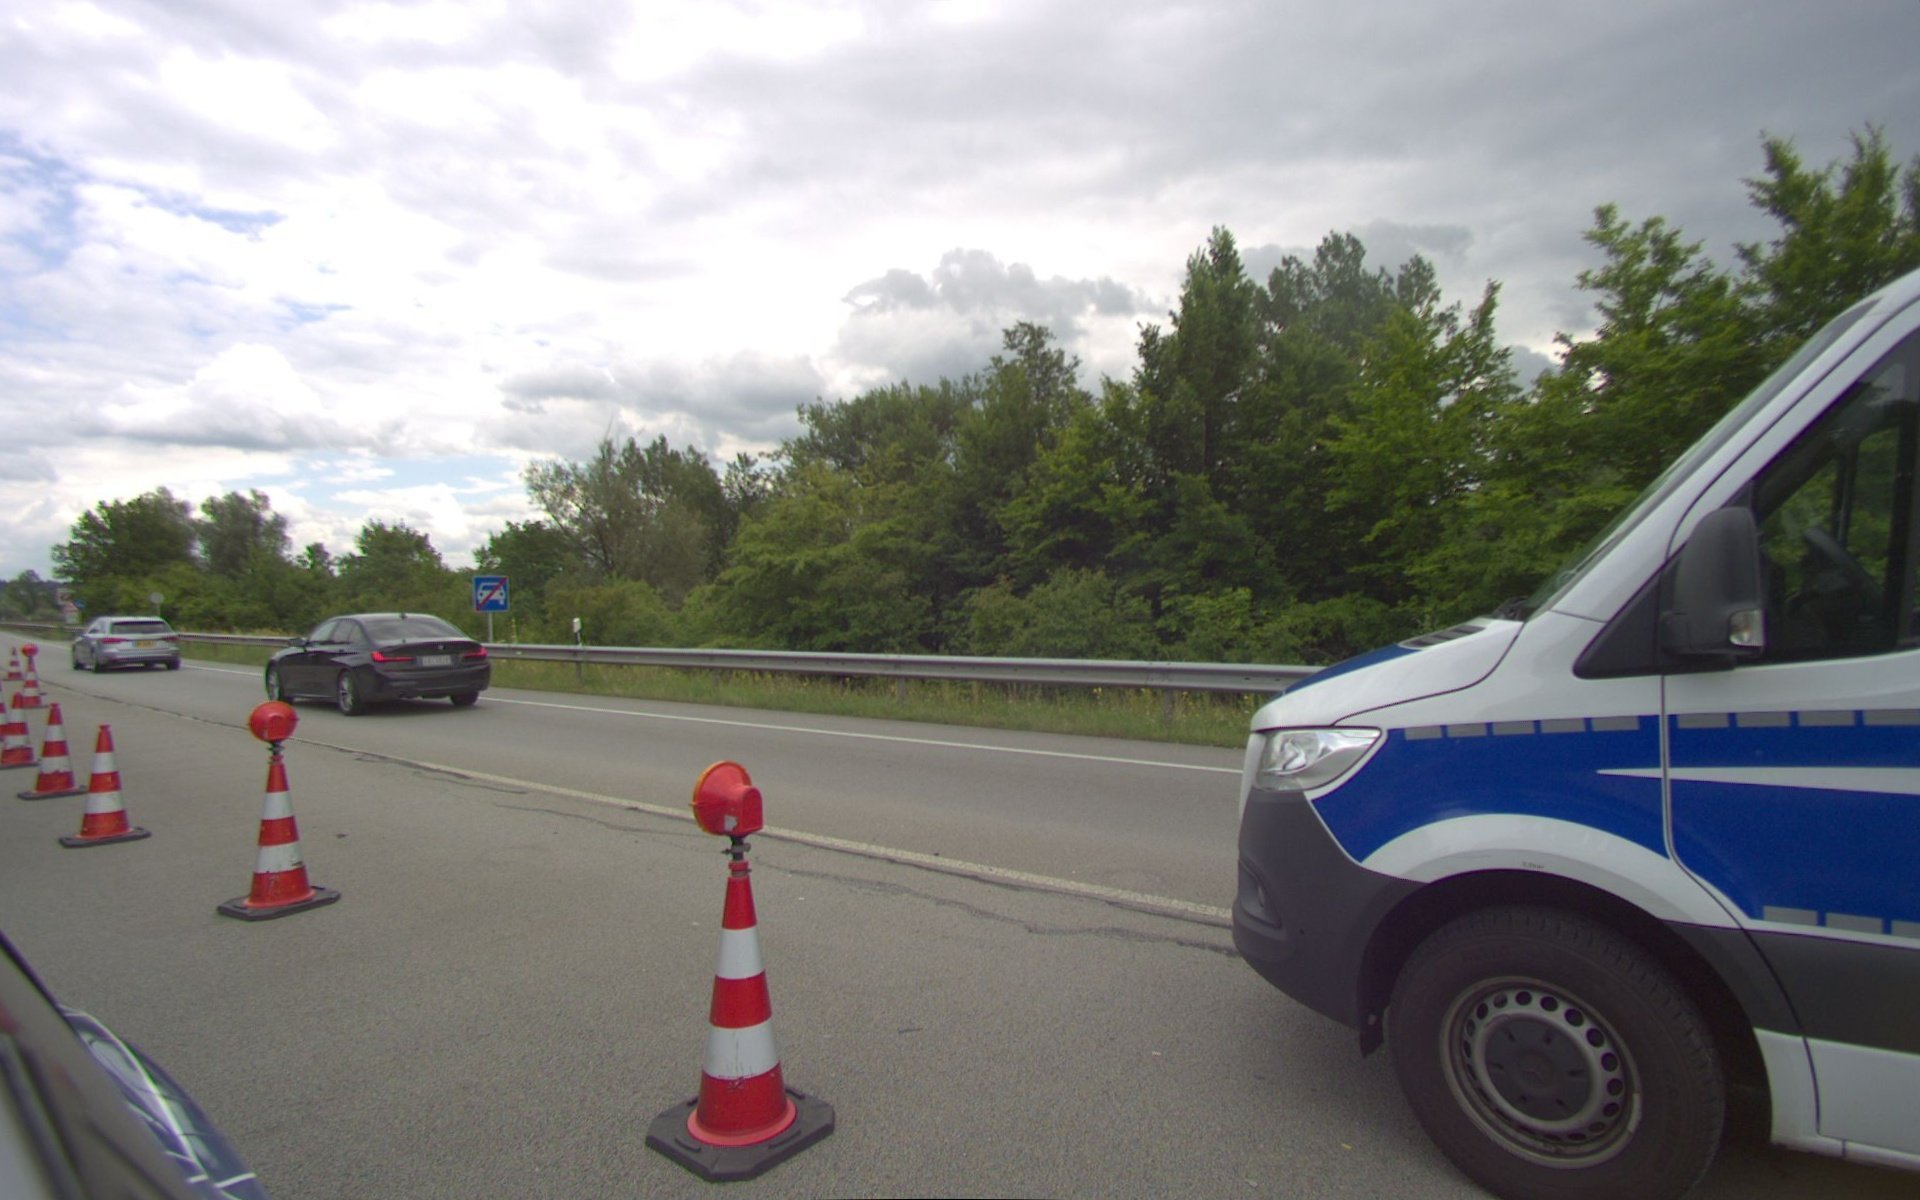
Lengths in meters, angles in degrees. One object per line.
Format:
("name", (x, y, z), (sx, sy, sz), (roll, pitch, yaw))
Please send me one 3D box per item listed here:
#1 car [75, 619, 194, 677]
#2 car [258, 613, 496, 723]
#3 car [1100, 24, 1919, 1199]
("car", (-22.294, 1.236, 27.272), (4.370, 1.412, 1.662), (-1, -1, 39))
("car", (-9.046, 0.955, 15.563), (4.331, 1.447, 1.692), (-1, -1, 38))
("car", (3.112, 0.141, 2.159), (5.272, 2.482, 2.010), (-1, -1, 38))
